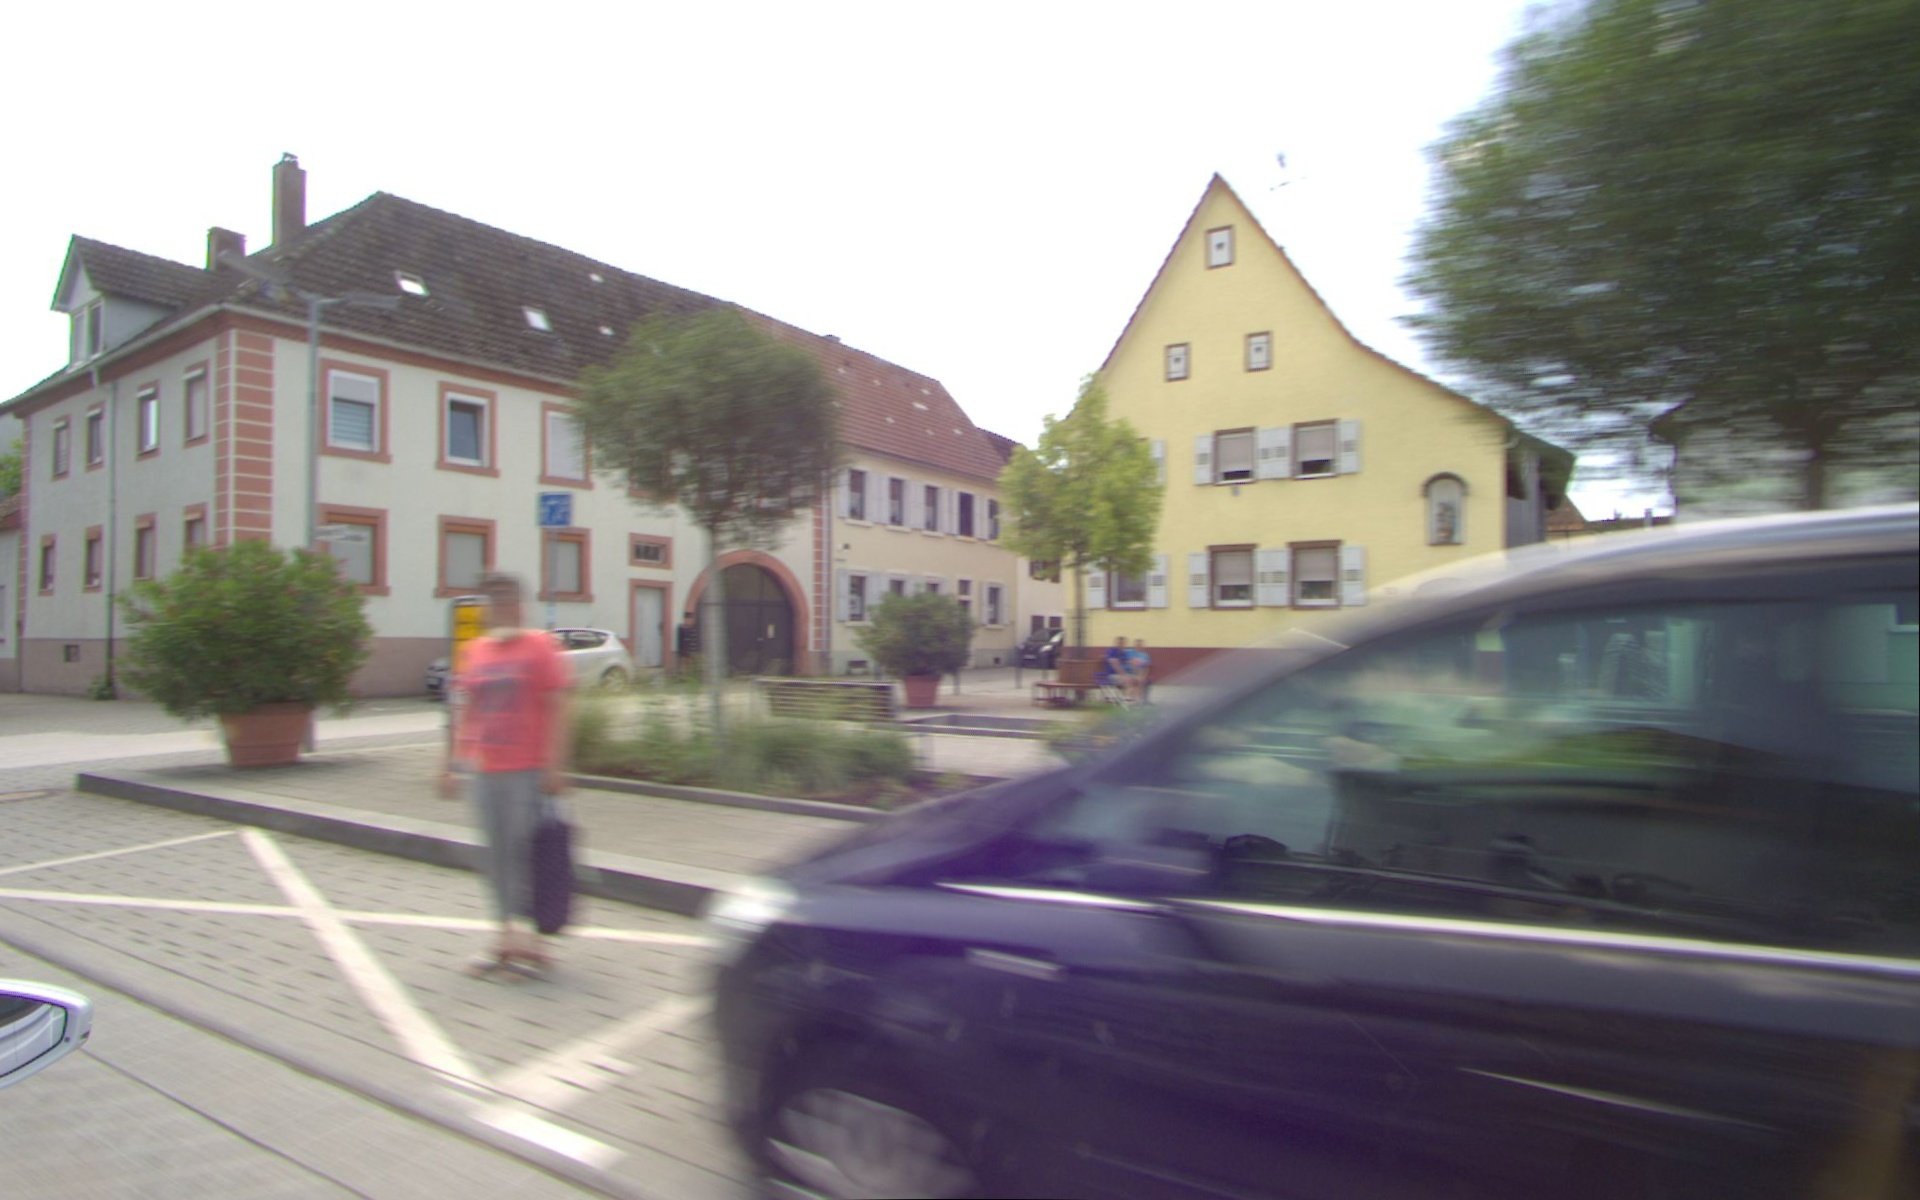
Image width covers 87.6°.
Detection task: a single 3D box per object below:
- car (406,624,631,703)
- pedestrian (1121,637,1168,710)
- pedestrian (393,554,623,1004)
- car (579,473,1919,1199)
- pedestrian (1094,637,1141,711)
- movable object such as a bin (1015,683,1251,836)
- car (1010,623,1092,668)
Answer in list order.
[{"bbox_3d":[-9.185,1.281,21.086,1.803,1.492,3.978,-1,-2,38],"label":"car"},{"bbox_3d":[3.381,1.335,18.407,0.528,1.300,0.789,0,-1,-17],"label":"pedestrian"},{"bbox_3d":[-1.848,0.670,4.117,0.612,1.650,0.637,-1,-1,36],"label":"pedestrian"},{"bbox_3d":[1.351,0.656,1.903,4.360,1.585,1.763,-1,0,36],"label":"car"},{"bbox_3d":[2.838,1.316,18.072,0.603,1.300,0.671,0,-1,-17],"label":"pedestrian"},{"bbox_3d":[1.165,1.030,6.783,1.415,0.877,0.734,-1,-3,31],"label":"movable object such as a bin"},{"bbox_3d":[3.572,1.736,38.824,1.585,1.640,3.653,1,-1,34],"label":"car"}]
